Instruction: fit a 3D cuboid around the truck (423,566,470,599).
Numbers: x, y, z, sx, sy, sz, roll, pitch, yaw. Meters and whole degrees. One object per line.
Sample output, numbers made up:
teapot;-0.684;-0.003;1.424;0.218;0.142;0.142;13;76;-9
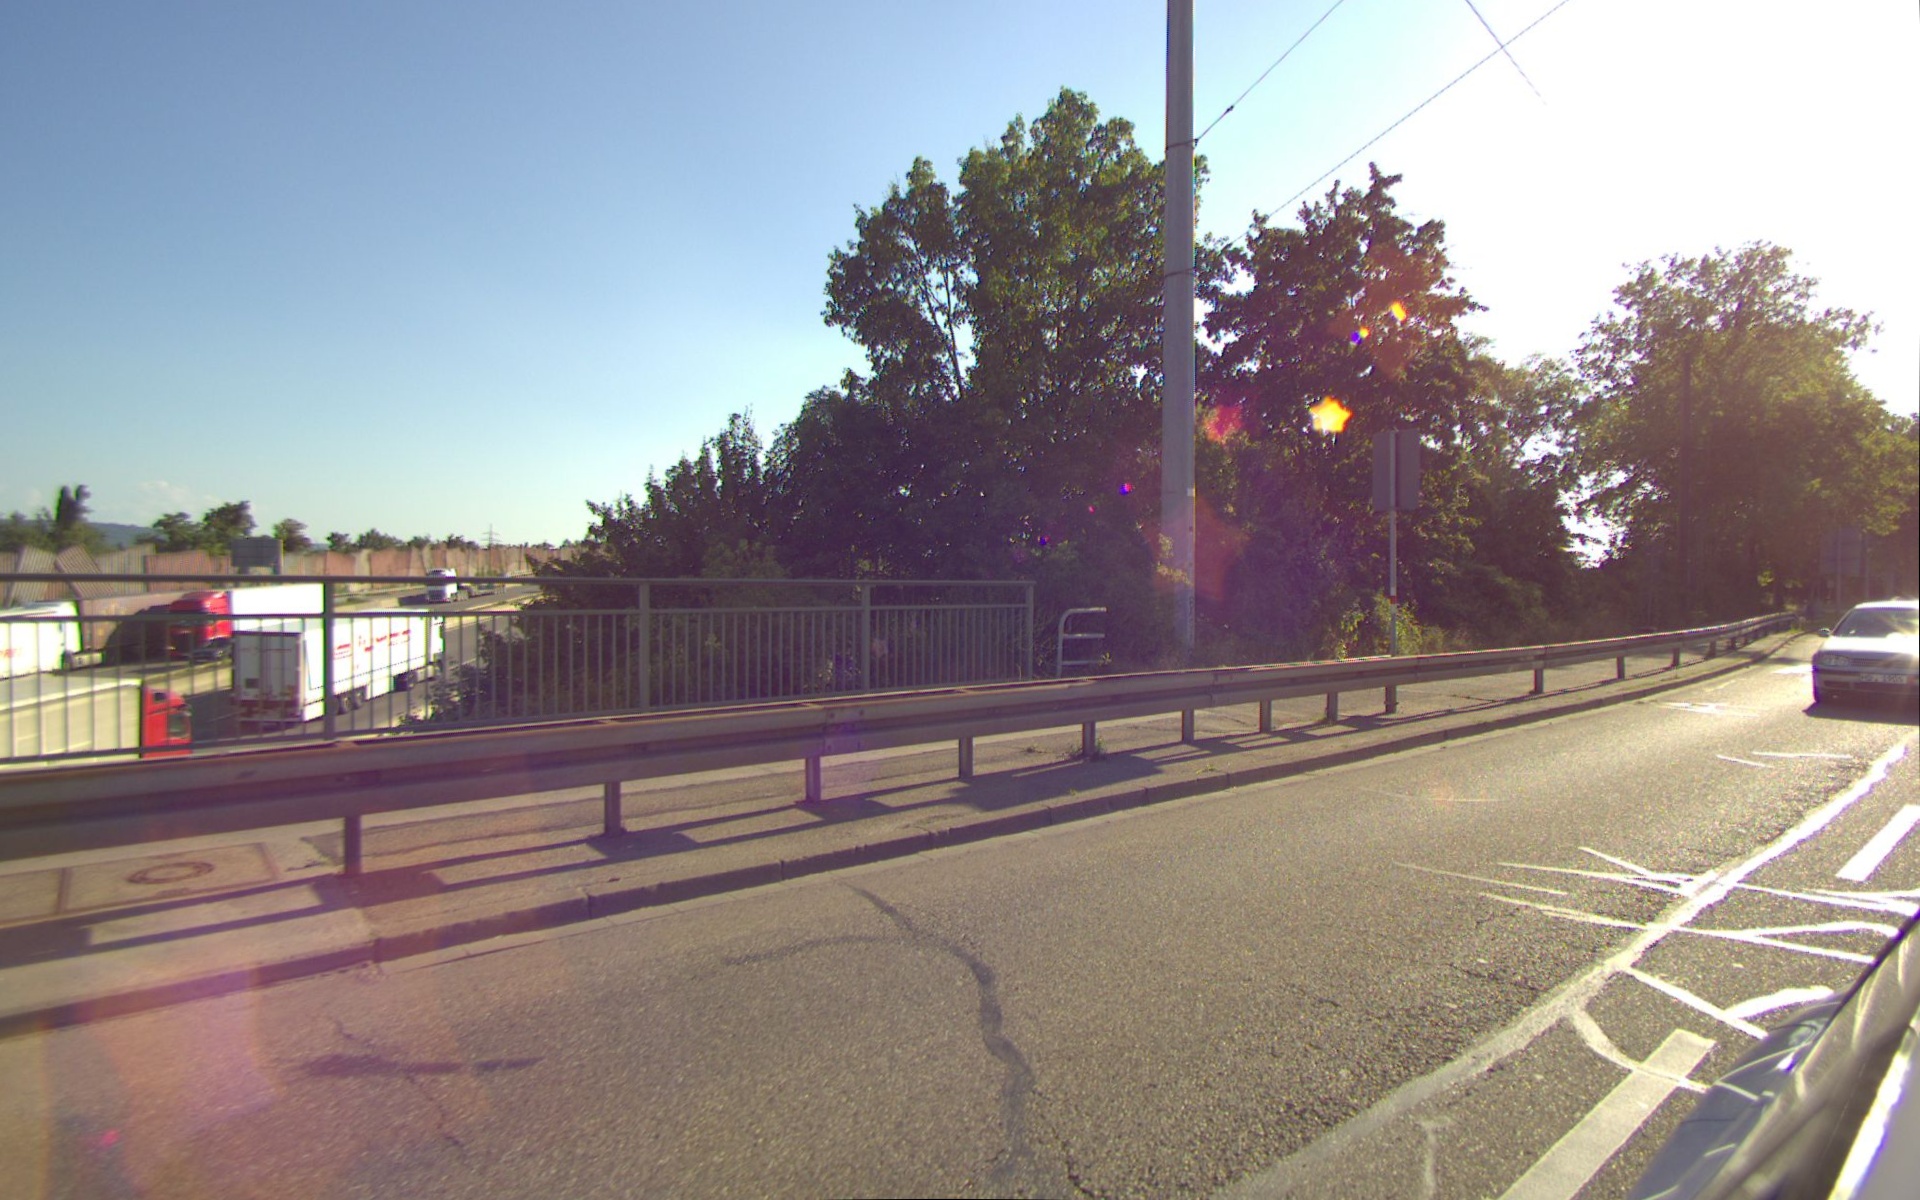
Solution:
truck;-60.139;-2.098;118.712;2.541;3.623;7.355;-1;3;-8

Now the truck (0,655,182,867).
truck;-23.073;3.778;24.972;2.819;3.987;7.356;-1;3;-9

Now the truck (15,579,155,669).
truck;-51.432;1.254;59.792;2.541;4.803;7.354;-1;2;-8

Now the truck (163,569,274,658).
truck;-48.309;0.745;66.221;2.541;5.326;7.355;-1;2;-8

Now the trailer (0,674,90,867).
trailer;-22.094;4.160;18.846;2.850;3.891;12.129;-1;4;-9

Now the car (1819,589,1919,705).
car;13.692;0.590;14.327;3.930;1.463;1.694;-1;1;-40

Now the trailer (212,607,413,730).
trailer;-28.542;2.727;45.597;2.850;3.891;12.129;-1;4;-9

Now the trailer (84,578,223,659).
trailer;-52.348;0.986;66.128;2.541;4.803;9.486;-1;2;-8

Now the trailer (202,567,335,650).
trailer;-49.269;0.342;72.714;2.541;5.340;12.378;-1;2;-8

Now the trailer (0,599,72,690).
trailer;-44.828;2.269;44.746;2.540;3.891;11.614;-1;4;-10

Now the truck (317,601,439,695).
truck;-29.507;2.266;51.682;2.819;3.987;7.356;-1;3;-9
